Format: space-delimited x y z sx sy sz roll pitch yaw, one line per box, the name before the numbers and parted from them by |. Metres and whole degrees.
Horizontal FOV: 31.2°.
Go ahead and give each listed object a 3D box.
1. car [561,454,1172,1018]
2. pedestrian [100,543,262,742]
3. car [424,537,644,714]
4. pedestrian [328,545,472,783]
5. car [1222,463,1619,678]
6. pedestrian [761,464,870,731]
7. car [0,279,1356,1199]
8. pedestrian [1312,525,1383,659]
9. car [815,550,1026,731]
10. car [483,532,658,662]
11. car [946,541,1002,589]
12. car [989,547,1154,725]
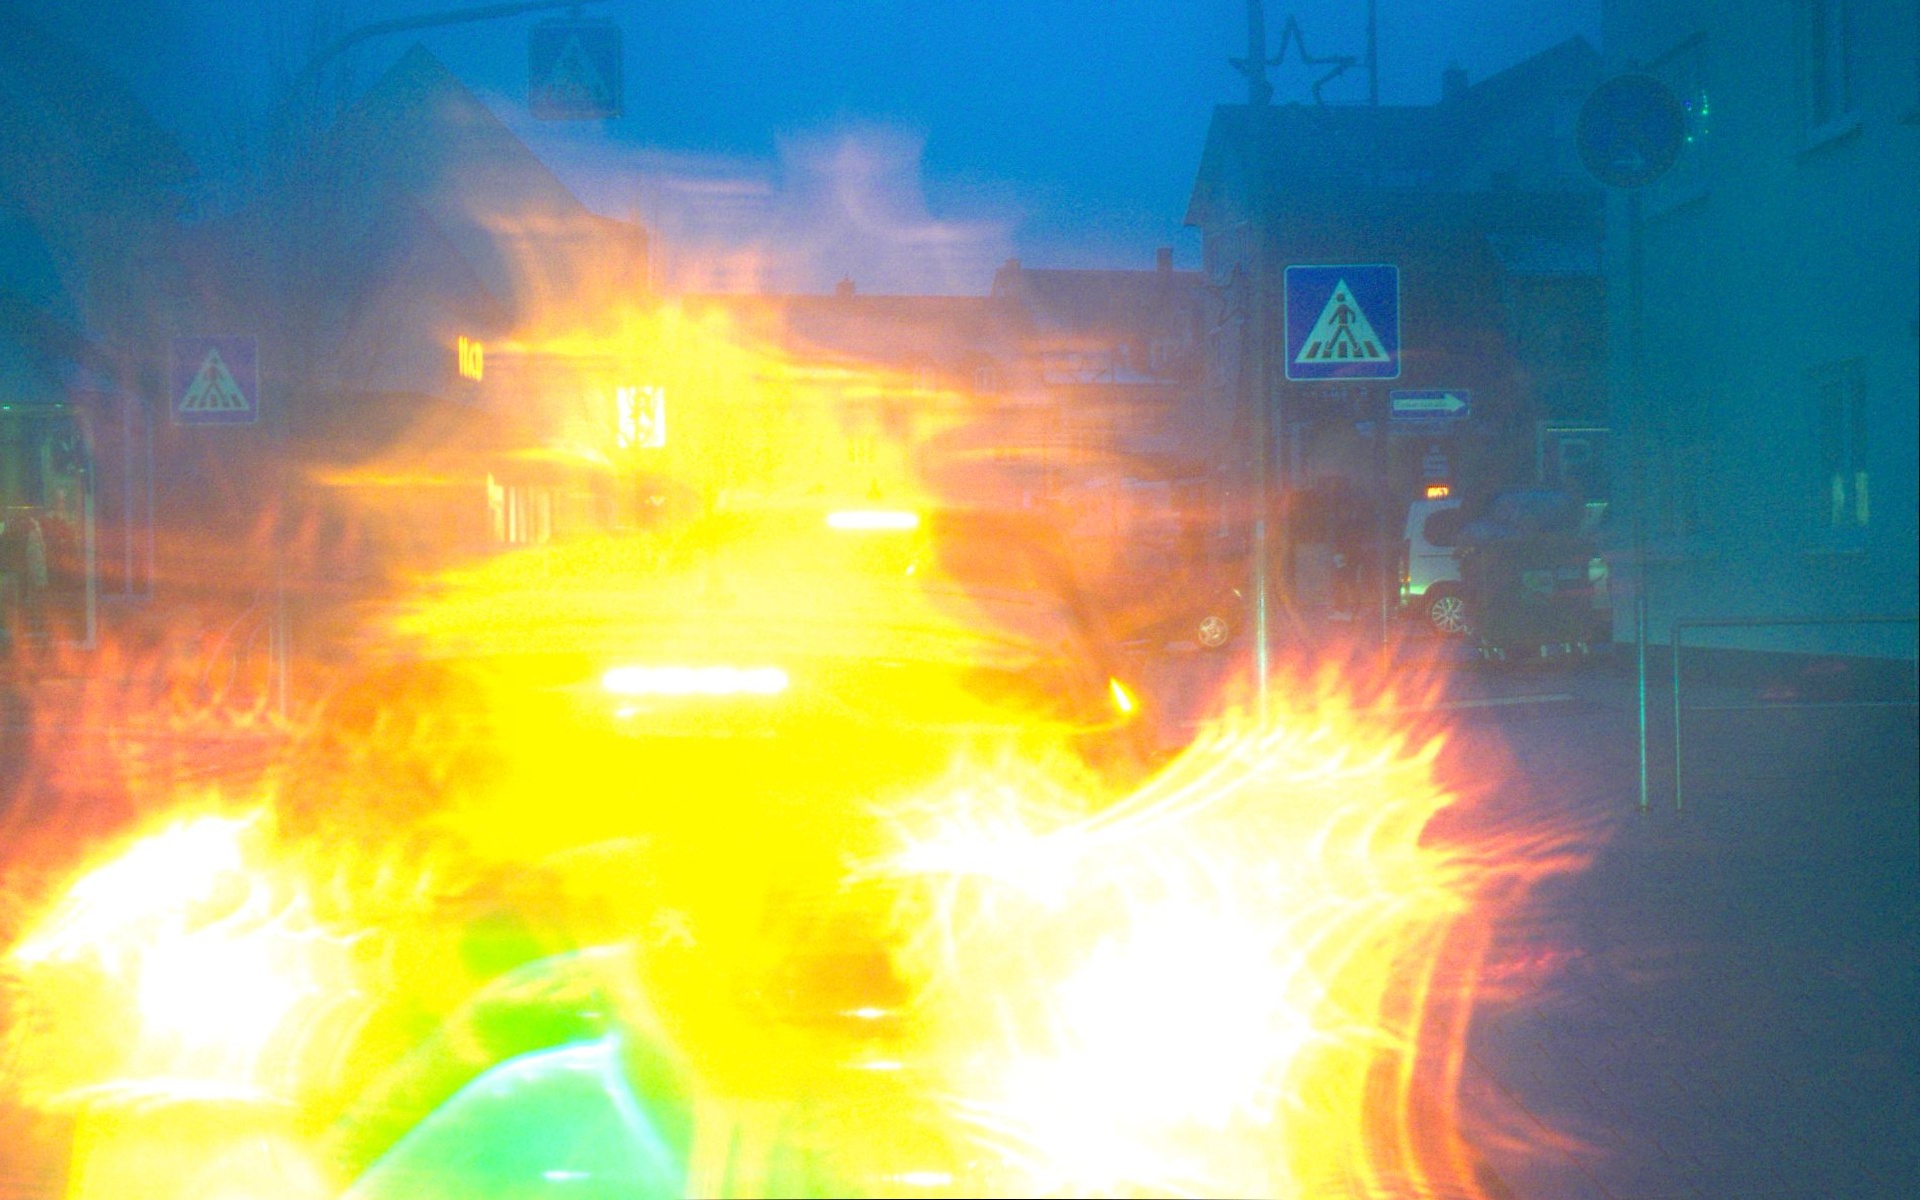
car | -0.249 0.384 12.194 1.798 1.656 4.000 0 1 1
pedestrian | -5.957 0.322 26.340 0.890 1.413 0.776 6 0 4
car | -5.062 0.258 41.392 1.993 2.007 4.361 0 1 1
pedestrian | -4.228 0.467 26.005 0.973 1.736 0.961 1 2 -4
car | 4.438 -0.287 33.560 3.697 2.007 1.689 1 0 3
pedestrian | -1.032 -0.026 24.505 0.703 1.870 0.617 1 2 -6
car | -0.438 0.462 6.392 1.994 1.789 4.648 0 2 2
pedestrian | 5.873 -0.122 52.147 1.016 2.007 1.275 0 1 5
car | -0.308 0.327 32.842 1.827 1.596 4.581 0 1 2
car | -5.418 -0.076 48.302 1.993 1.746 4.361 0 1 0
car | 0.440 -1.087 104.905 1.534 1.241 3.647 -5 2 2
car | 1.322 0.394 42.323 1.641 2.007 4.001 -2 1 -3
